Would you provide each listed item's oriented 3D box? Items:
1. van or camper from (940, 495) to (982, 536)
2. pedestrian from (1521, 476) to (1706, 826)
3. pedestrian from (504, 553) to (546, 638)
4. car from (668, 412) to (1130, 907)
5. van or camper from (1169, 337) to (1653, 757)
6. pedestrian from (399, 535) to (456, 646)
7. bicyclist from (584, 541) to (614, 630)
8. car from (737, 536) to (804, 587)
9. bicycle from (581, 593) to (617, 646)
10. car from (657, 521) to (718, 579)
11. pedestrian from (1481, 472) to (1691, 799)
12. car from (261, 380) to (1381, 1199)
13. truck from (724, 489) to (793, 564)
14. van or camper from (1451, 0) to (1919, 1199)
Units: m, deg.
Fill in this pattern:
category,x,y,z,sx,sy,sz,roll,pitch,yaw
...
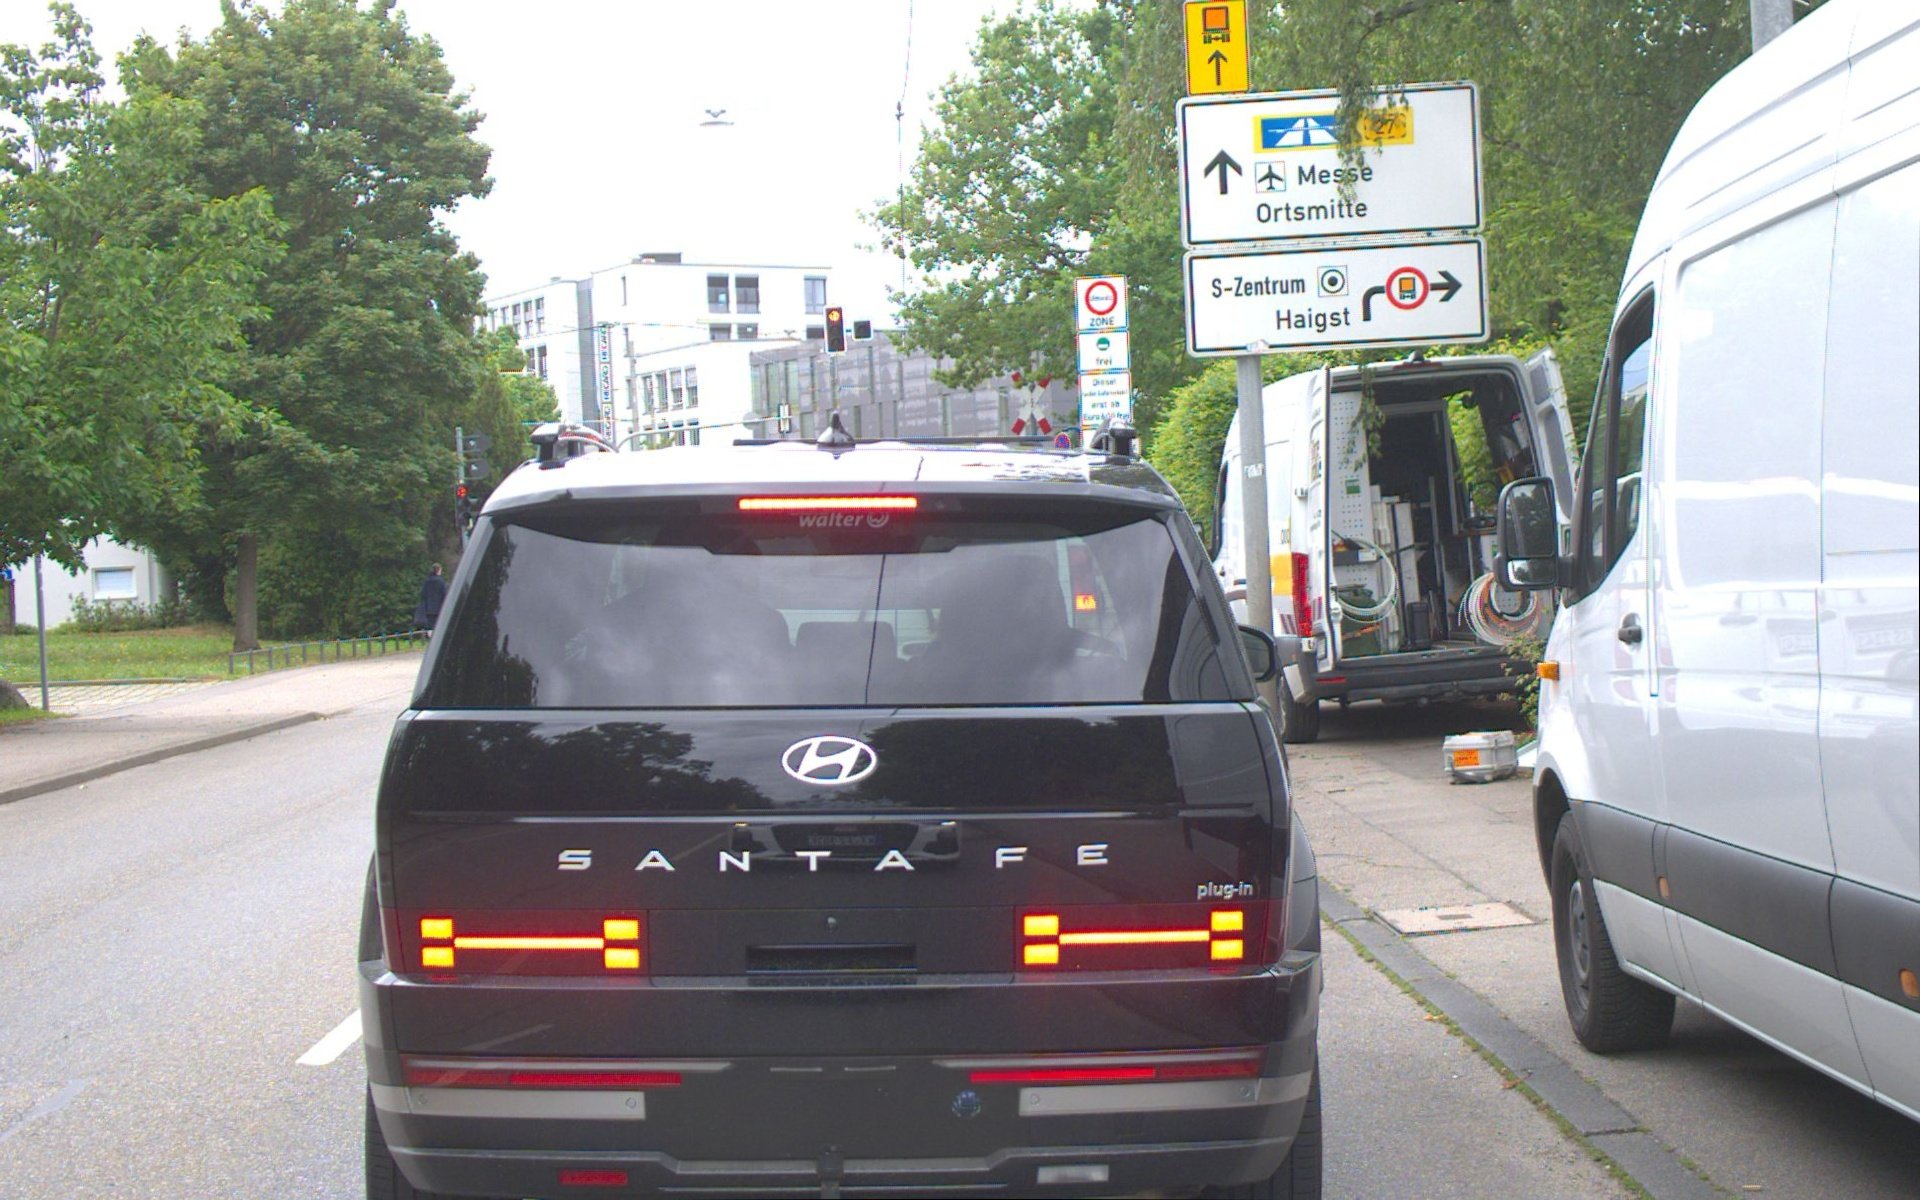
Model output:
category,x,y,z,sx,sy,sz,roll,pitch,yaw
van or camper,0.049,-4.233,172.481,1.795,1.992,3.824,1,1,-4
pedestrian,3.187,0.244,16.829,0.736,1.638,0.801,-3,0,6
pedestrian,-8.983,-0.101,71.011,0.767,1.742,0.904,-1,0,-2
car,-0.276,0.229,16.341,1.897,2.035,3.994,1,1,-1
van or camper,3.083,-0.335,25.271,2.340,2.486,6.603,-5,0,-1
pedestrian,-9.795,-0.173,63.266,0.830,2.007,1.047,1,0,2
bicyclist,-6.849,-0.274,65.296,0.487,1.678,0.588,1,0,-1
car,-5.760,-1.173,104.750,1.756,1.398,4.414,-4,1,-1
bicycle,-6.856,0.361,65.360,0.495,0.961,1.748,1,1,-1
car,-11.450,-2.107,144.249,2.332,2.307,4.959,-2,1,-6
pedestrian,3.373,0.181,18.531,0.750,1.715,0.791,1,1,-38
car,-0.262,0.503,7.878,1.897,1.770,3.994,1,1,-1
truck,-11.001,-3.957,187.152,3.107,3.846,9.623,-2,1,-6
van or camper,2.599,-0.019,6.997,1.991,2.616,6.544,-5,1,-1
